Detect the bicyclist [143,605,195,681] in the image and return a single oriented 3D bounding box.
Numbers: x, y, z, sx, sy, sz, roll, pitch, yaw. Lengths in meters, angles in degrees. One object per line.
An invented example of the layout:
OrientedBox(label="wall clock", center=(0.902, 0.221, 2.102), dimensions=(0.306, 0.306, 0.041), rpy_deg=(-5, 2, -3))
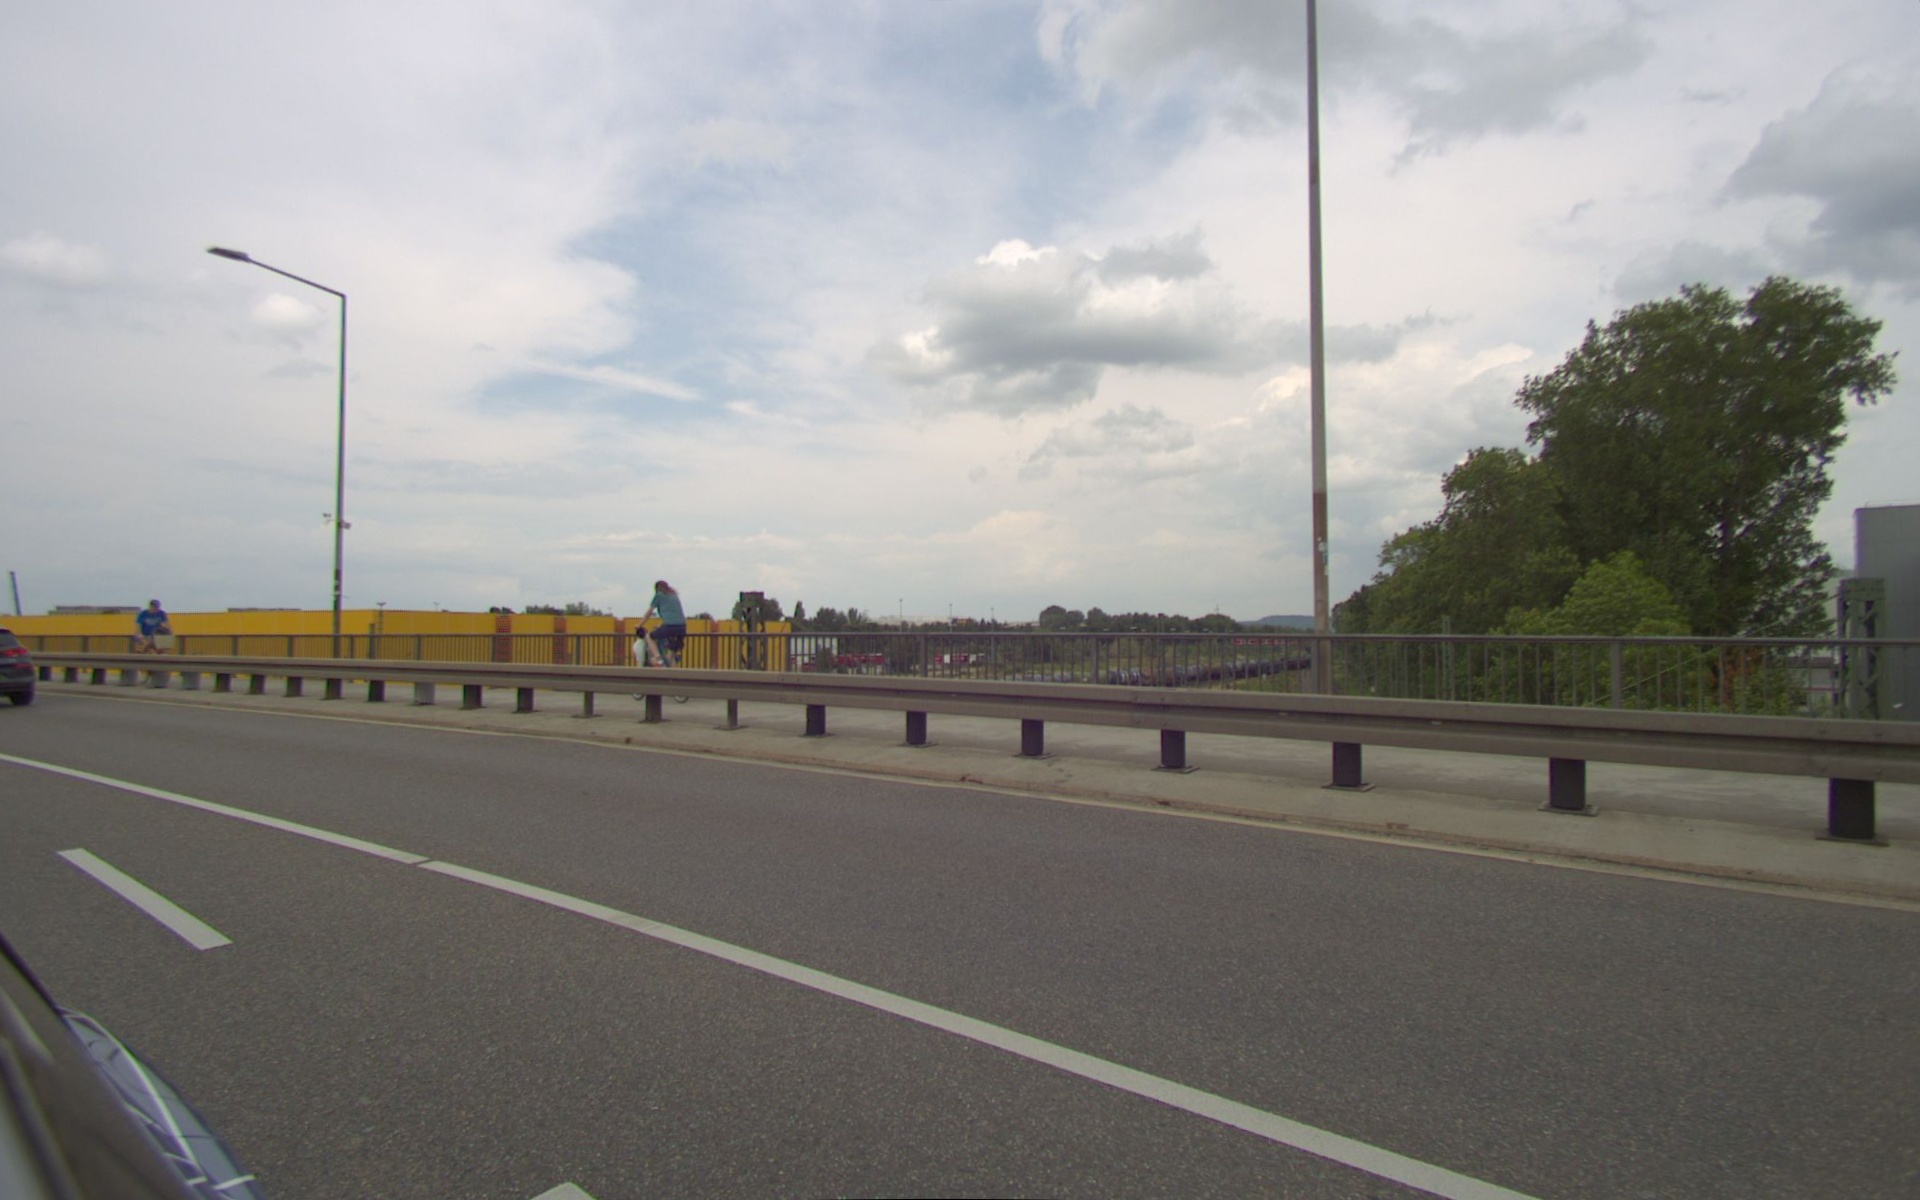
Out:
OrientedBox(label="bicyclist", center=(-16.560, 0.883, 21.187), dimensions=(0.753, 1.551, 0.606), rpy_deg=(-1, -1, 28))

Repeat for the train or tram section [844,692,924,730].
OrientedBox(label="train or tram section", center=(-8.697, 12.968, 118.981), dimensions=(2.076, 4.127, 12.618), rpy_deg=(-1, -5, 33))

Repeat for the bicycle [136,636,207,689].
OrientedBox(label="bicycle", center=(-16.446, 1.286, 21.101), dimensions=(1.802, 1.053, 0.489), rpy_deg=(-1, -1, 29))

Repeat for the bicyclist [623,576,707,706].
OrientedBox(label="bicyclist", center=(-4.272, 0.574, 14.687), dimensions=(0.793, 1.822, 0.843), rpy_deg=(-1, -1, 30))

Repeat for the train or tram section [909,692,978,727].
OrientedBox(label="train or tram section", center=(-1.896, 13.966, 129.570), dimensions=(2.076, 4.127, 12.618), rpy_deg=(-1, -5, 33))

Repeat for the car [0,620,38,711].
OrientedBox(label="car", center=(-17.909, 1.119, 17.464), dimensions=(4.366, 1.488, 1.795), rpy_deg=(-1, 0, 31))

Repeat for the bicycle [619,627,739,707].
OrientedBox(label="bicycle", center=(-4.068, 0.939, 14.614), dimensions=(1.754, 1.075, 0.641), rpy_deg=(-1, 0, 31))
